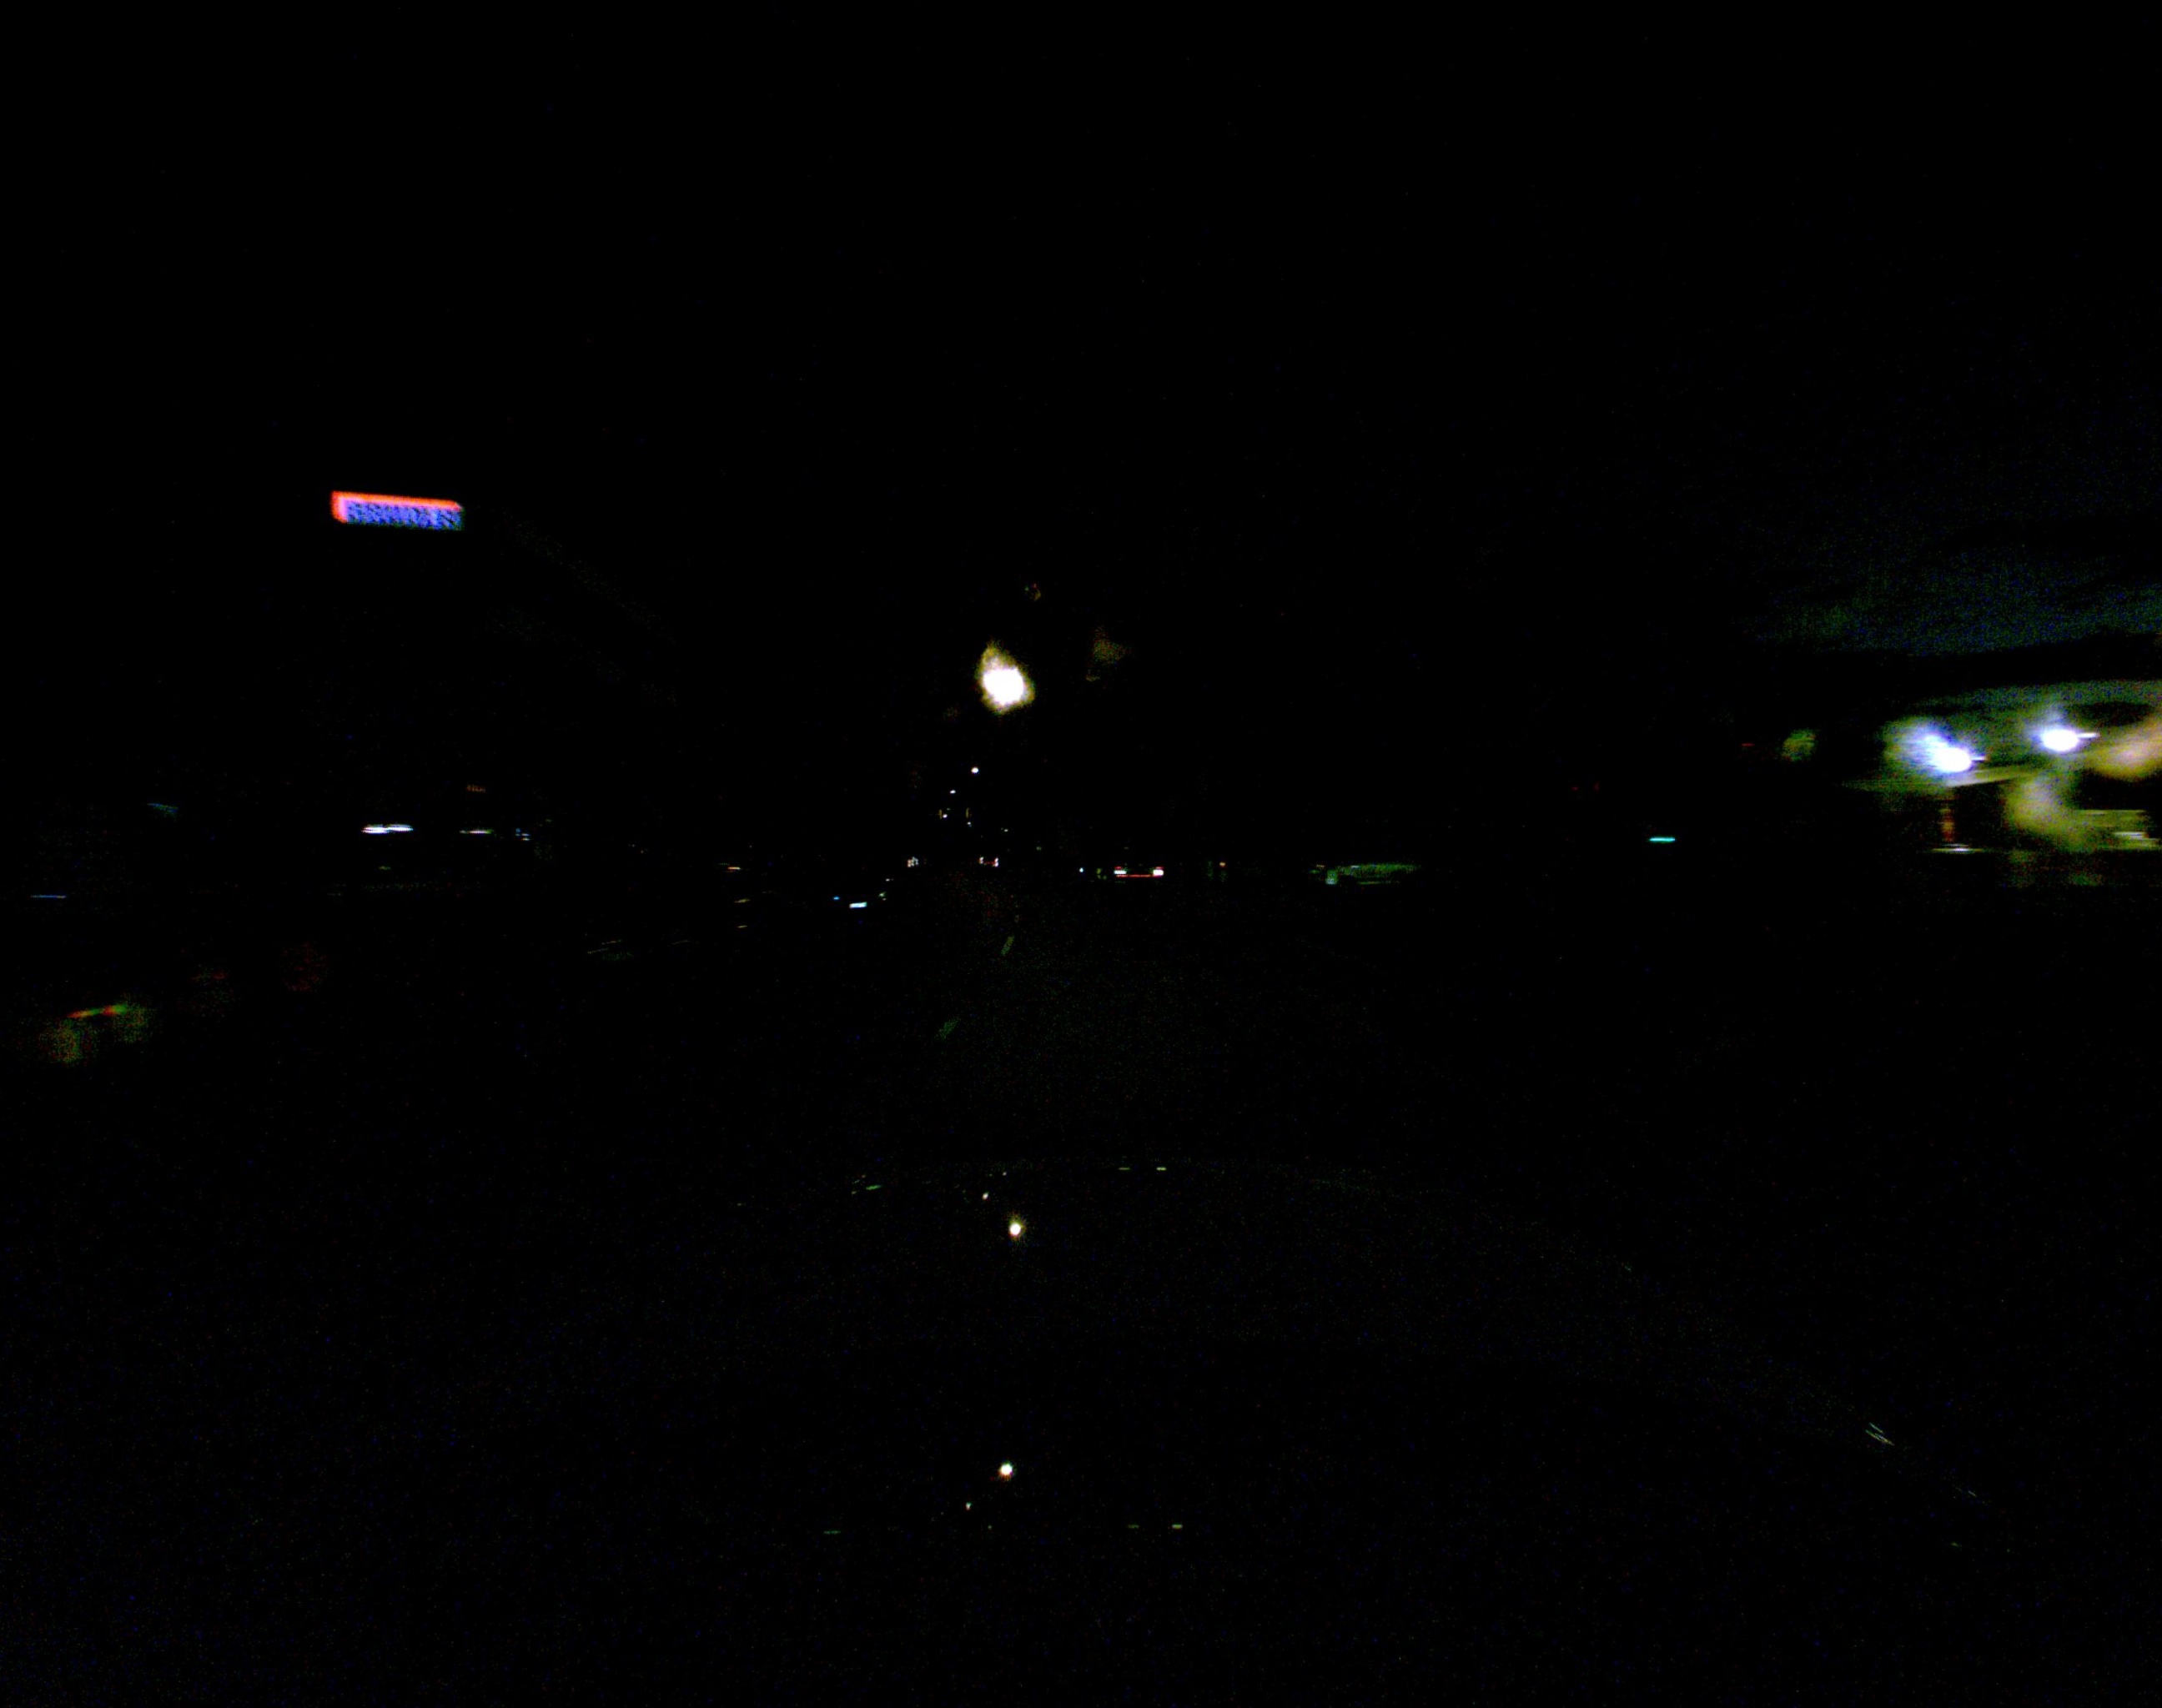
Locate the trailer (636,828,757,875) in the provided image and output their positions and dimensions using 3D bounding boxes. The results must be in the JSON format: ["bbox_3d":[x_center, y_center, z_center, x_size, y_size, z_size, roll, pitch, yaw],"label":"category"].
[{"bbox_3d":[-39.061,-0.232,83.858,3.039,4.357,15.045,0,0,10],"label":"trailer"}]

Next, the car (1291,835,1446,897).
[{"bbox_3d":[9.293,0.357,26.452,4.329,1.646,1.884,-4,1,-12],"label":"car"}]

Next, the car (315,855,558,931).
[{"bbox_3d":[-16.740,0.966,21.396,4.603,1.816,1.958,-1,0,-7],"label":"car"}]

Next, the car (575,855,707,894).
[{"bbox_3d":[-18.055,0.822,33.599,4.400,1.478,1.846,-1,0,-7],"label":"car"}]

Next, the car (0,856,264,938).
[{"bbox_3d":[-19.305,0.813,15.962,4.400,1.452,1.823,-1,0,-7],"label":"car"}]

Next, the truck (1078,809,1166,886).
[{"bbox_3d":[2.066,-0.296,45.171,2.756,3.783,9.103,-2,0,-11],"label":"truck"}]

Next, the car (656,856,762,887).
[{"bbox_3d":[-18.949,0.889,41.617,4.440,1.452,2.058,-1,0,-4],"label":"car"}]

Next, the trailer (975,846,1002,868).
[{"bbox_3d":[-13.990,0.470,123.065,3.487,3.219,4.841,0,-1,-14],"label":"trailer"}]

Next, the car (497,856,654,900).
[{"bbox_3d":[-17.598,0.813,28.553,4.262,1.394,1.823,-1,0,-7],"label":"car"}]

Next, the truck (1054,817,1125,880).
[{"bbox_3d":[0.369,-0.332,54.908,2.756,3.783,10.186,-2,0,-11],"label":"truck"}]

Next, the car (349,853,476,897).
[{"bbox_3d":[-26.987,0.801,33.079,1.991,1.641,4.194,0,0,-6],"label":"car"}]

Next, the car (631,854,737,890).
[{"bbox_3d":[-18.877,0.848,38.913,4.128,1.579,1.837,-1,0,-7],"label":"car"}]

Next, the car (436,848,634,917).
[{"bbox_3d":[-16.002,0.811,24.093,4.400,1.816,1.958,-2,0,-7],"label":"car"}]

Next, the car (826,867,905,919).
[{"bbox_3d":[-6.755,1.167,25.940,1.813,1.371,4.349,-2,0,-8],"label":"car"}]

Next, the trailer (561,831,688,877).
[{"bbox_3d":[-46.874,-0.029,84.621,3.041,4.357,15.034,0,0,8],"label":"trailer"}]

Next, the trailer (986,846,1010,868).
[{"bbox_3d":[-11.141,0.419,108.744,2.617,2.846,4.686,0,-1,-14],"label":"trailer"}]

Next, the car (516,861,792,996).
[{"bbox_3d":[-6.094,0.944,12.359,1.861,1.593,4.492,-1,0,-1],"label":"car"}]

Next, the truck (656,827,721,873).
[{"bbox_3d":[-36.553,-0.338,75.936,3.038,4.148,4.951,0,0,11],"label":"truck"}]

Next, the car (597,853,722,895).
[{"bbox_3d":[-18.407,0.853,35.764,4.402,1.681,1.957,-1,0,-9],"label":"car"}]

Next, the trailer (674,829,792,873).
[{"bbox_3d":[-35.069,-0.287,83.333,3.038,4.148,15.050,0,0,11],"label":"trailer"}]

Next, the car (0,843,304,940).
[{"bbox_3d":[-16.526,0.602,13.920,4.400,1.482,1.888,-1,0,-7],"label":"car"}]

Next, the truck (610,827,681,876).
[{"bbox_3d":[-40.487,-0.240,75.911,3.039,4.357,5.582,0,0,10],"label":"truck"}]

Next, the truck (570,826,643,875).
[{"bbox_3d":[-44.348,-0.303,76.301,3.039,4.357,5.581,0,0,10],"label":"truck"}]

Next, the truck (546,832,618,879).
[{"bbox_3d":[-47.730,0.155,78.055,3.042,4.357,5.577,0,0,7],"label":"truck"}]

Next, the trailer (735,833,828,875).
[{"bbox_3d":[-30.633,-0.010,84.441,3.044,3.932,15.022,0,0,5],"label":"trailer"}]

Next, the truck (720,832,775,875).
[{"bbox_3d":[-31.298,-0.017,76.591,3.044,3.932,4.509,0,0,4],"label":"truck"}]

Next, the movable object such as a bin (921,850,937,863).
[{"bbox_3d":[-29.135,0.464,156.459,1.986,2.376,4.703,-2,0,1],"label":"movable object such as a bin"}]

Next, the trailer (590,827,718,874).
[{"bbox_3d":[-43.099,-0.334,83.329,3.039,4.357,15.044,0,0,10],"label":"trailer"}]
